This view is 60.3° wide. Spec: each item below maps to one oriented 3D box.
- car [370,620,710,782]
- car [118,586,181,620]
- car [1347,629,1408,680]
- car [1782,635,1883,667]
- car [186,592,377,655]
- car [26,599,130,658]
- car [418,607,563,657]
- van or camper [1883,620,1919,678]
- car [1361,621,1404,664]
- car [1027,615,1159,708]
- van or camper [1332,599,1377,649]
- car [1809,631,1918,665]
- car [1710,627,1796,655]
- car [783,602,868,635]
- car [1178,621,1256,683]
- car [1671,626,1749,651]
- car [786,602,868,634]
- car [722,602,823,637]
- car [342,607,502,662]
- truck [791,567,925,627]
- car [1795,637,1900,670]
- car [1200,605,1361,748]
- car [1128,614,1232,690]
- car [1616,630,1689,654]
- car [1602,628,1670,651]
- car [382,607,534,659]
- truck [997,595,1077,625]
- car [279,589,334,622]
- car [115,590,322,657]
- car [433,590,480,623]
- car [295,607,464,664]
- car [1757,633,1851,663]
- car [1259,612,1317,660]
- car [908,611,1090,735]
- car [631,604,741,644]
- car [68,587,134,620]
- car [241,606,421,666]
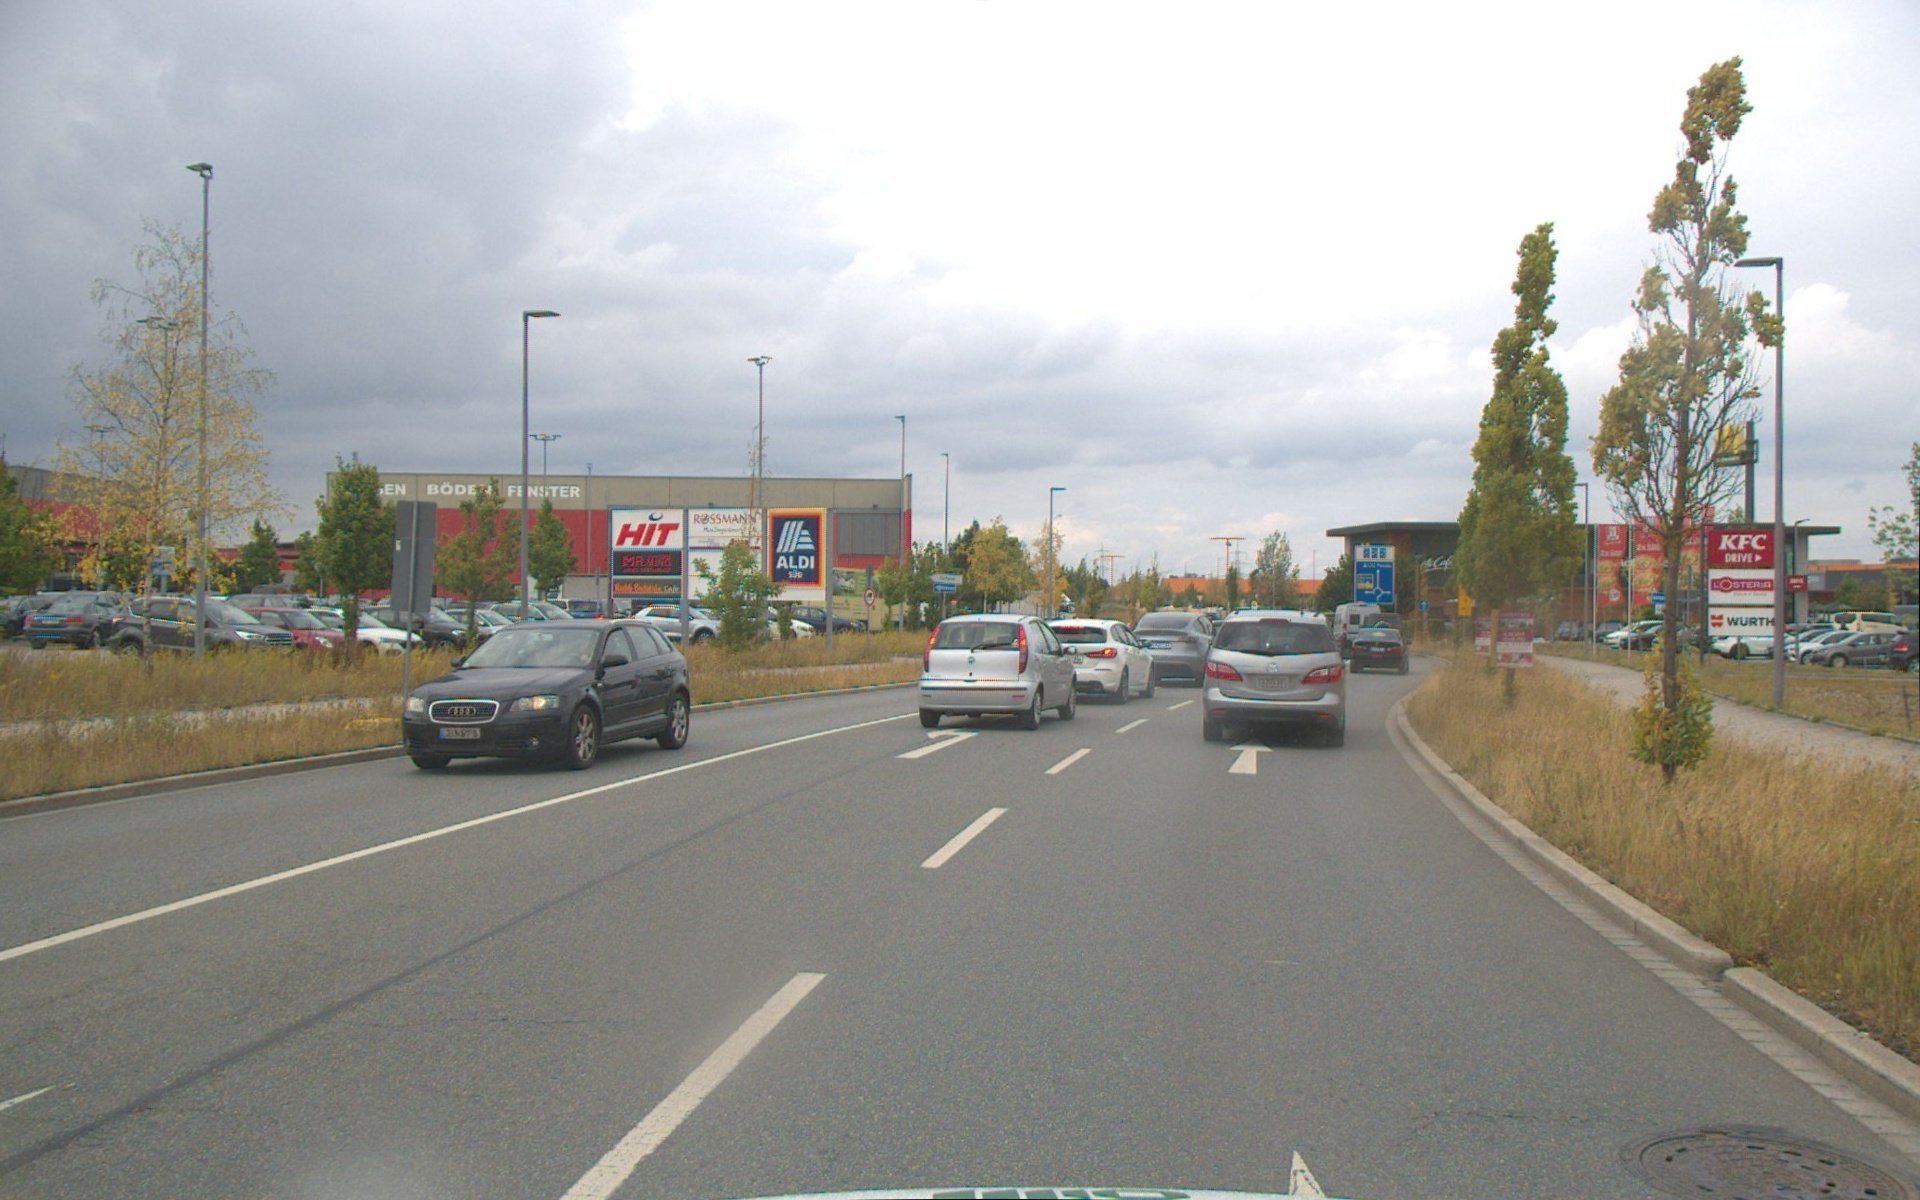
[{"bbox_3d":[-4.100,0.933,16.900,1.731,1.408,4.153,-1,0,12],"label":"car"},{"bbox_3d":[-42.369,0.141,86.516,1.723,1.682,3.831,0,0,-6],"label":"car"},{"bbox_3d":[12.700,1.632,50.491,1.716,1.411,4.305,0,0,13],"label":"car"},{"bbox_3d":[36.923,2.150,70.049,3.516,1.266,1.631,0,0,17],"label":"car"},{"bbox_3d":[-15.956,0.529,38.997,3.721,1.414,1.916,0,0,10],"label":"car"},{"bbox_3d":[-26.814,0.836,50.406,1.726,1.682,3.826,0,0,-11],"label":"car"},{"bbox_3d":[-14.096,0.942,49.745,3.721,1.414,1.916,0,0,10],"label":"car"},{"bbox_3d":[32.454,1.587,53.787,3.902,1.825,1.823,0,0,15],"label":"van or camper"},{"bbox_3d":[20.038,1.986,78.400,1.951,1.957,4.851,0,-1,15],"label":"car"},{"bbox_3d":[2.454,1.035,29.628,1.756,1.475,4.252,0,0,13],"label":"car"},{"bbox_3d":[21.364,1.298,89.425,2.142,2.586,6.170,0,-1,16],"label":"van or camper"},{"bbox_3d":[35.734,1.901,65.489,3.516,1.266,1.631,0,0,17],"label":"car"},{"bbox_3d":[38.227,1.977,79.819,3.516,1.266,1.631,0,0,17],"label":"car"},{"bbox_3d":[-6.122,0.835,75.659,3.752,1.453,1.742,0,0,-2],"label":"car"},{"bbox_3d":[7.140,1.385,45.672,1.862,1.596,4.339,0,0,12],"label":"car"},{"bbox_3d":[39.126,2.012,86.353,3.516,1.266,1.631,0,0,17],"label":"car"},{"bbox_3d":[-6.230,0.831,77.750,3.752,1.453,1.742,0,0,-2],"label":"car"},{"bbox_3d":[-7.996,0.838,70.764,3.901,1.467,2.002,-1,-1,10],"label":"car"},{"bbox_3d":[-14.791,0.920,45.541,3.721,1.414,1.916,0,0,10],"label":"car"},{"bbox_3d":[-5.243,-0.139,86.735,2.625,2.997,8.156,0,0,34],"label":"truck"},{"bbox_3d":[36.295,2.160,67.716,3.516,1.266,1.631,0,0,17],"label":"car"},{"bbox_3d":[4.247,0.891,21.438,1.776,1.590,4.405,1,0,14],"label":"car"},{"bbox_3d":[5.064,1.127,37.547,1.766,1.534,4.888,0,0,14],"label":"car"},{"bbox_3d":[37.792,2.296,90.318,3.516,1.266,1.631,0,0,17],"label":"car"},{"bbox_3d":[39.565,2.324,96.859,3.516,1.266,1.631,0,0,17],"label":"car"},{"bbox_3d":[-14.456,0.933,47.707,3.721,1.414,1.916,0,0,10],"label":"car"},{"bbox_3d":[7.615,0.952,163.142,7.523,2.967,2.358,0,0,14],"label":"truck"},{"bbox_3d":[-34.615,0.261,87.655,1.723,1.682,3.831,0,0,-6],"label":"car"},{"bbox_3d":[-16.367,0.496,36.595,3.721,1.414,1.916,0,0,10],"label":"car"},{"bbox_3d":[-26.853,0.319,88.327,1.723,1.682,3.831,0,0,-6],"label":"car"},{"bbox_3d":[-15.160,0.908,43.296,3.721,1.414,1.916,0,0,10],"label":"car"},{"bbox_3d":[38.131,2.172,74.782,3.516,1.266,1.631,0,0,17],"label":"car"},{"bbox_3d":[11.555,1.244,58.120,1.862,1.596,4.339,0,0,13],"label":"car"},{"bbox_3d":[0.626,0.923,22.660,1.756,1.486,3.819,0,0,13],"label":"car"},{"bbox_3d":[-10.424,0.905,62.914,3.748,1.453,1.744,-1,-1,14],"label":"car"},{"bbox_3d":[-44.749,0.161,86.219,1.723,1.682,3.831,0,0,-6],"label":"car"},{"bbox_3d":[-15.577,0.871,41.059,3.721,1.414,1.916,0,0,10],"label":"car"}]
